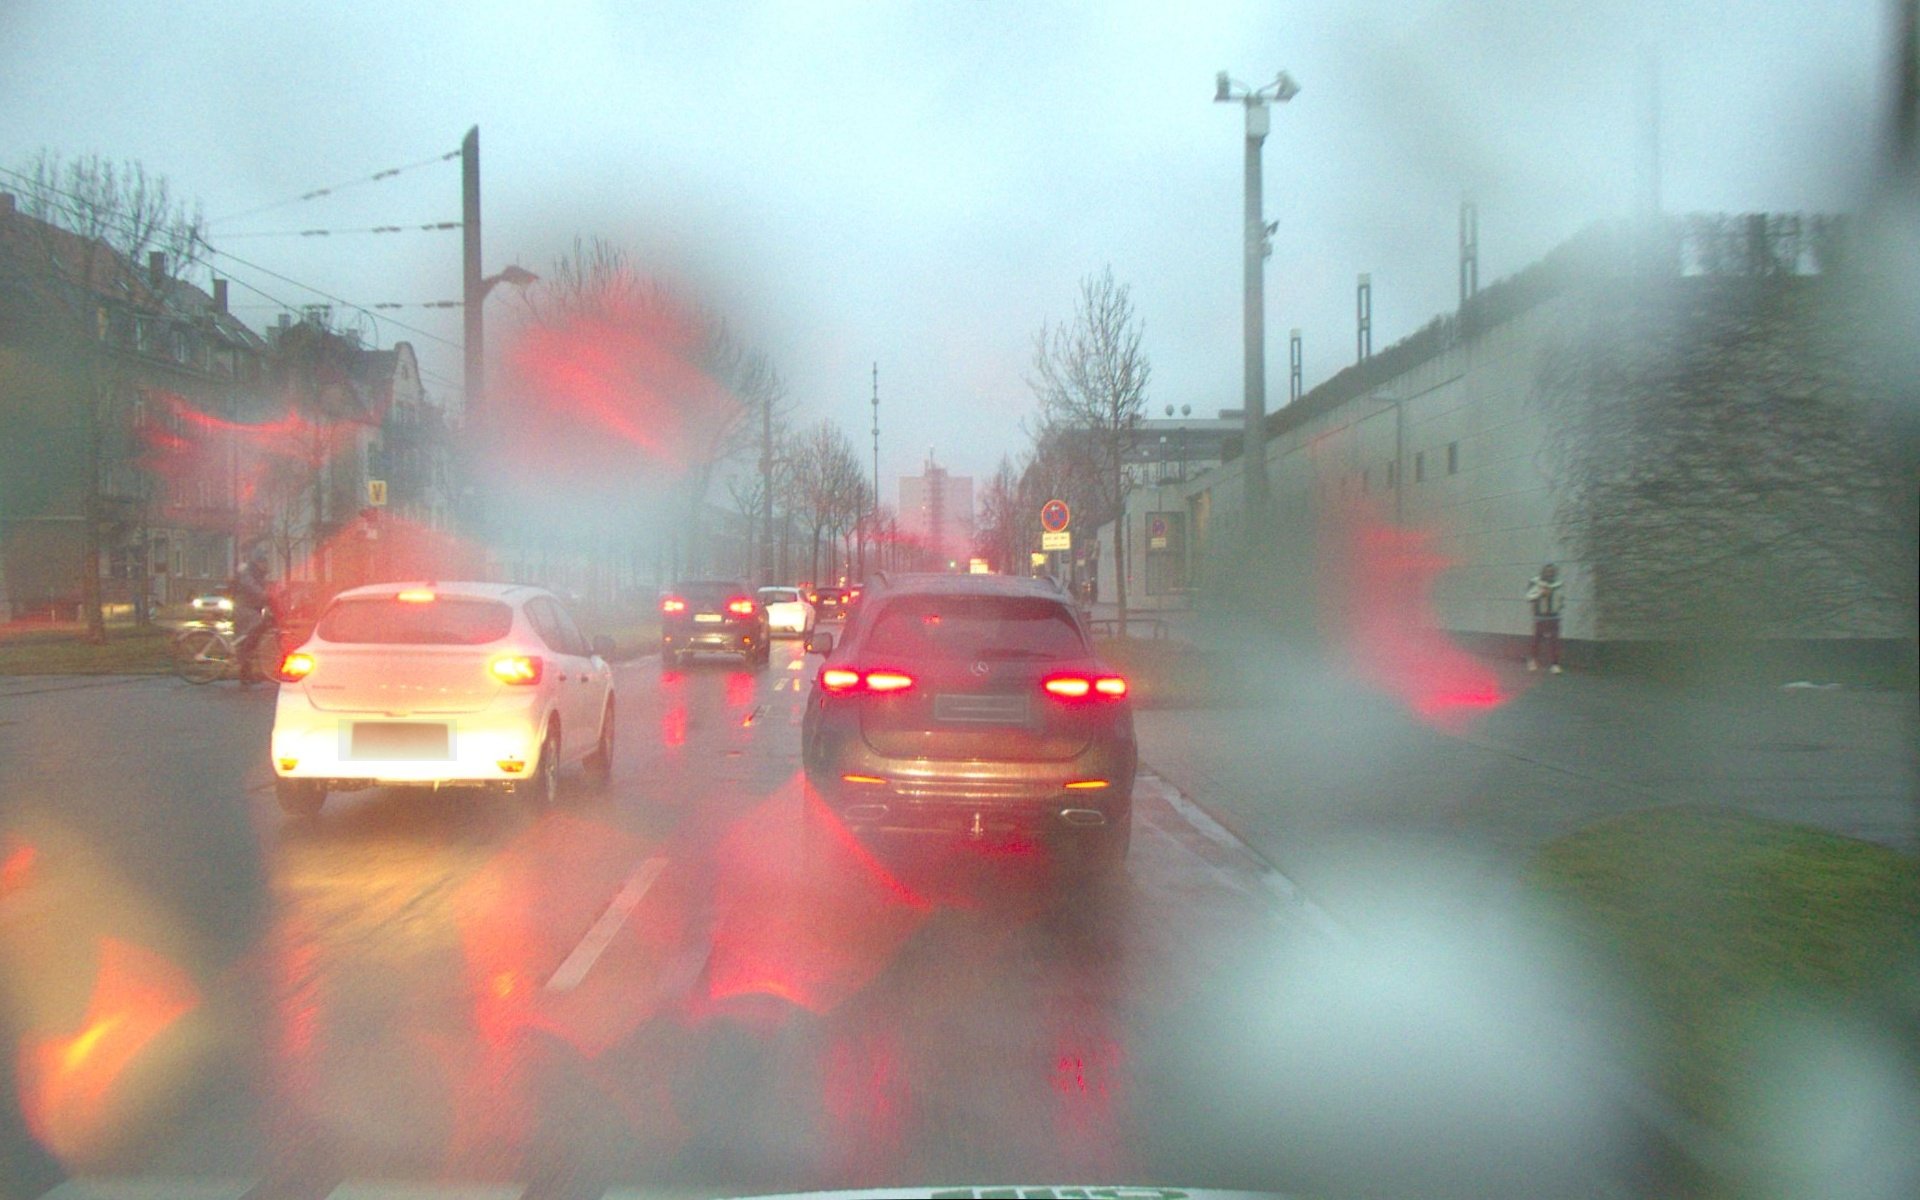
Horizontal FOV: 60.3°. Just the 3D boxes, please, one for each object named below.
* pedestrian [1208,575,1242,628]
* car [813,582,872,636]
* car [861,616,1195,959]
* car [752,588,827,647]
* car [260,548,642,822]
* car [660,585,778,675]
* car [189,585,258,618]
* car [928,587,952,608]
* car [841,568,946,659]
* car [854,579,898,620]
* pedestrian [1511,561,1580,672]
[{"bbox_3d":[8.418,0.044,52.558,0.918,1.646,0.694,-1,0,-3],"label":"pedestrian"},{"bbox_3d":[-4.720,0.373,66.957,1.952,2.049,4.001,2,0,2],"label":"car"},{"bbox_3d":[0.370,0.956,10.277,1.637,1.628,4.054,1,0,1],"label":"car"},{"bbox_3d":[-4.883,0.477,47.817,1.637,1.628,4.054,1,0,1],"label":"car"},{"bbox_3d":[-3.449,0.508,11.987,1.638,1.628,4.051,1,0,-2],"label":"car"},{"bbox_3d":[-4.663,0.549,32.485,1.637,1.628,4.054,1,0,1],"label":"car"},{"bbox_3d":[-35.739,0.062,80.341,1.739,1.526,3.557,0,1,0],"label":"car"},{"bbox_3d":[-1.687,-0.230,140.102,1.953,1.759,4.000,0,0,0],"label":"car"},{"bbox_3d":[-1.326,0.250,34.384,1.952,1.774,4.000,0,0,1],"label":"car"},{"bbox_3d":[-4.421,-0.011,87.440,1.952,2.049,4.001,2,0,2],"label":"car"},{"bbox_3d":[8.768,0.239,24.806,0.608,1.639,1.066,0,0,-3],"label":"pedestrian"}]
